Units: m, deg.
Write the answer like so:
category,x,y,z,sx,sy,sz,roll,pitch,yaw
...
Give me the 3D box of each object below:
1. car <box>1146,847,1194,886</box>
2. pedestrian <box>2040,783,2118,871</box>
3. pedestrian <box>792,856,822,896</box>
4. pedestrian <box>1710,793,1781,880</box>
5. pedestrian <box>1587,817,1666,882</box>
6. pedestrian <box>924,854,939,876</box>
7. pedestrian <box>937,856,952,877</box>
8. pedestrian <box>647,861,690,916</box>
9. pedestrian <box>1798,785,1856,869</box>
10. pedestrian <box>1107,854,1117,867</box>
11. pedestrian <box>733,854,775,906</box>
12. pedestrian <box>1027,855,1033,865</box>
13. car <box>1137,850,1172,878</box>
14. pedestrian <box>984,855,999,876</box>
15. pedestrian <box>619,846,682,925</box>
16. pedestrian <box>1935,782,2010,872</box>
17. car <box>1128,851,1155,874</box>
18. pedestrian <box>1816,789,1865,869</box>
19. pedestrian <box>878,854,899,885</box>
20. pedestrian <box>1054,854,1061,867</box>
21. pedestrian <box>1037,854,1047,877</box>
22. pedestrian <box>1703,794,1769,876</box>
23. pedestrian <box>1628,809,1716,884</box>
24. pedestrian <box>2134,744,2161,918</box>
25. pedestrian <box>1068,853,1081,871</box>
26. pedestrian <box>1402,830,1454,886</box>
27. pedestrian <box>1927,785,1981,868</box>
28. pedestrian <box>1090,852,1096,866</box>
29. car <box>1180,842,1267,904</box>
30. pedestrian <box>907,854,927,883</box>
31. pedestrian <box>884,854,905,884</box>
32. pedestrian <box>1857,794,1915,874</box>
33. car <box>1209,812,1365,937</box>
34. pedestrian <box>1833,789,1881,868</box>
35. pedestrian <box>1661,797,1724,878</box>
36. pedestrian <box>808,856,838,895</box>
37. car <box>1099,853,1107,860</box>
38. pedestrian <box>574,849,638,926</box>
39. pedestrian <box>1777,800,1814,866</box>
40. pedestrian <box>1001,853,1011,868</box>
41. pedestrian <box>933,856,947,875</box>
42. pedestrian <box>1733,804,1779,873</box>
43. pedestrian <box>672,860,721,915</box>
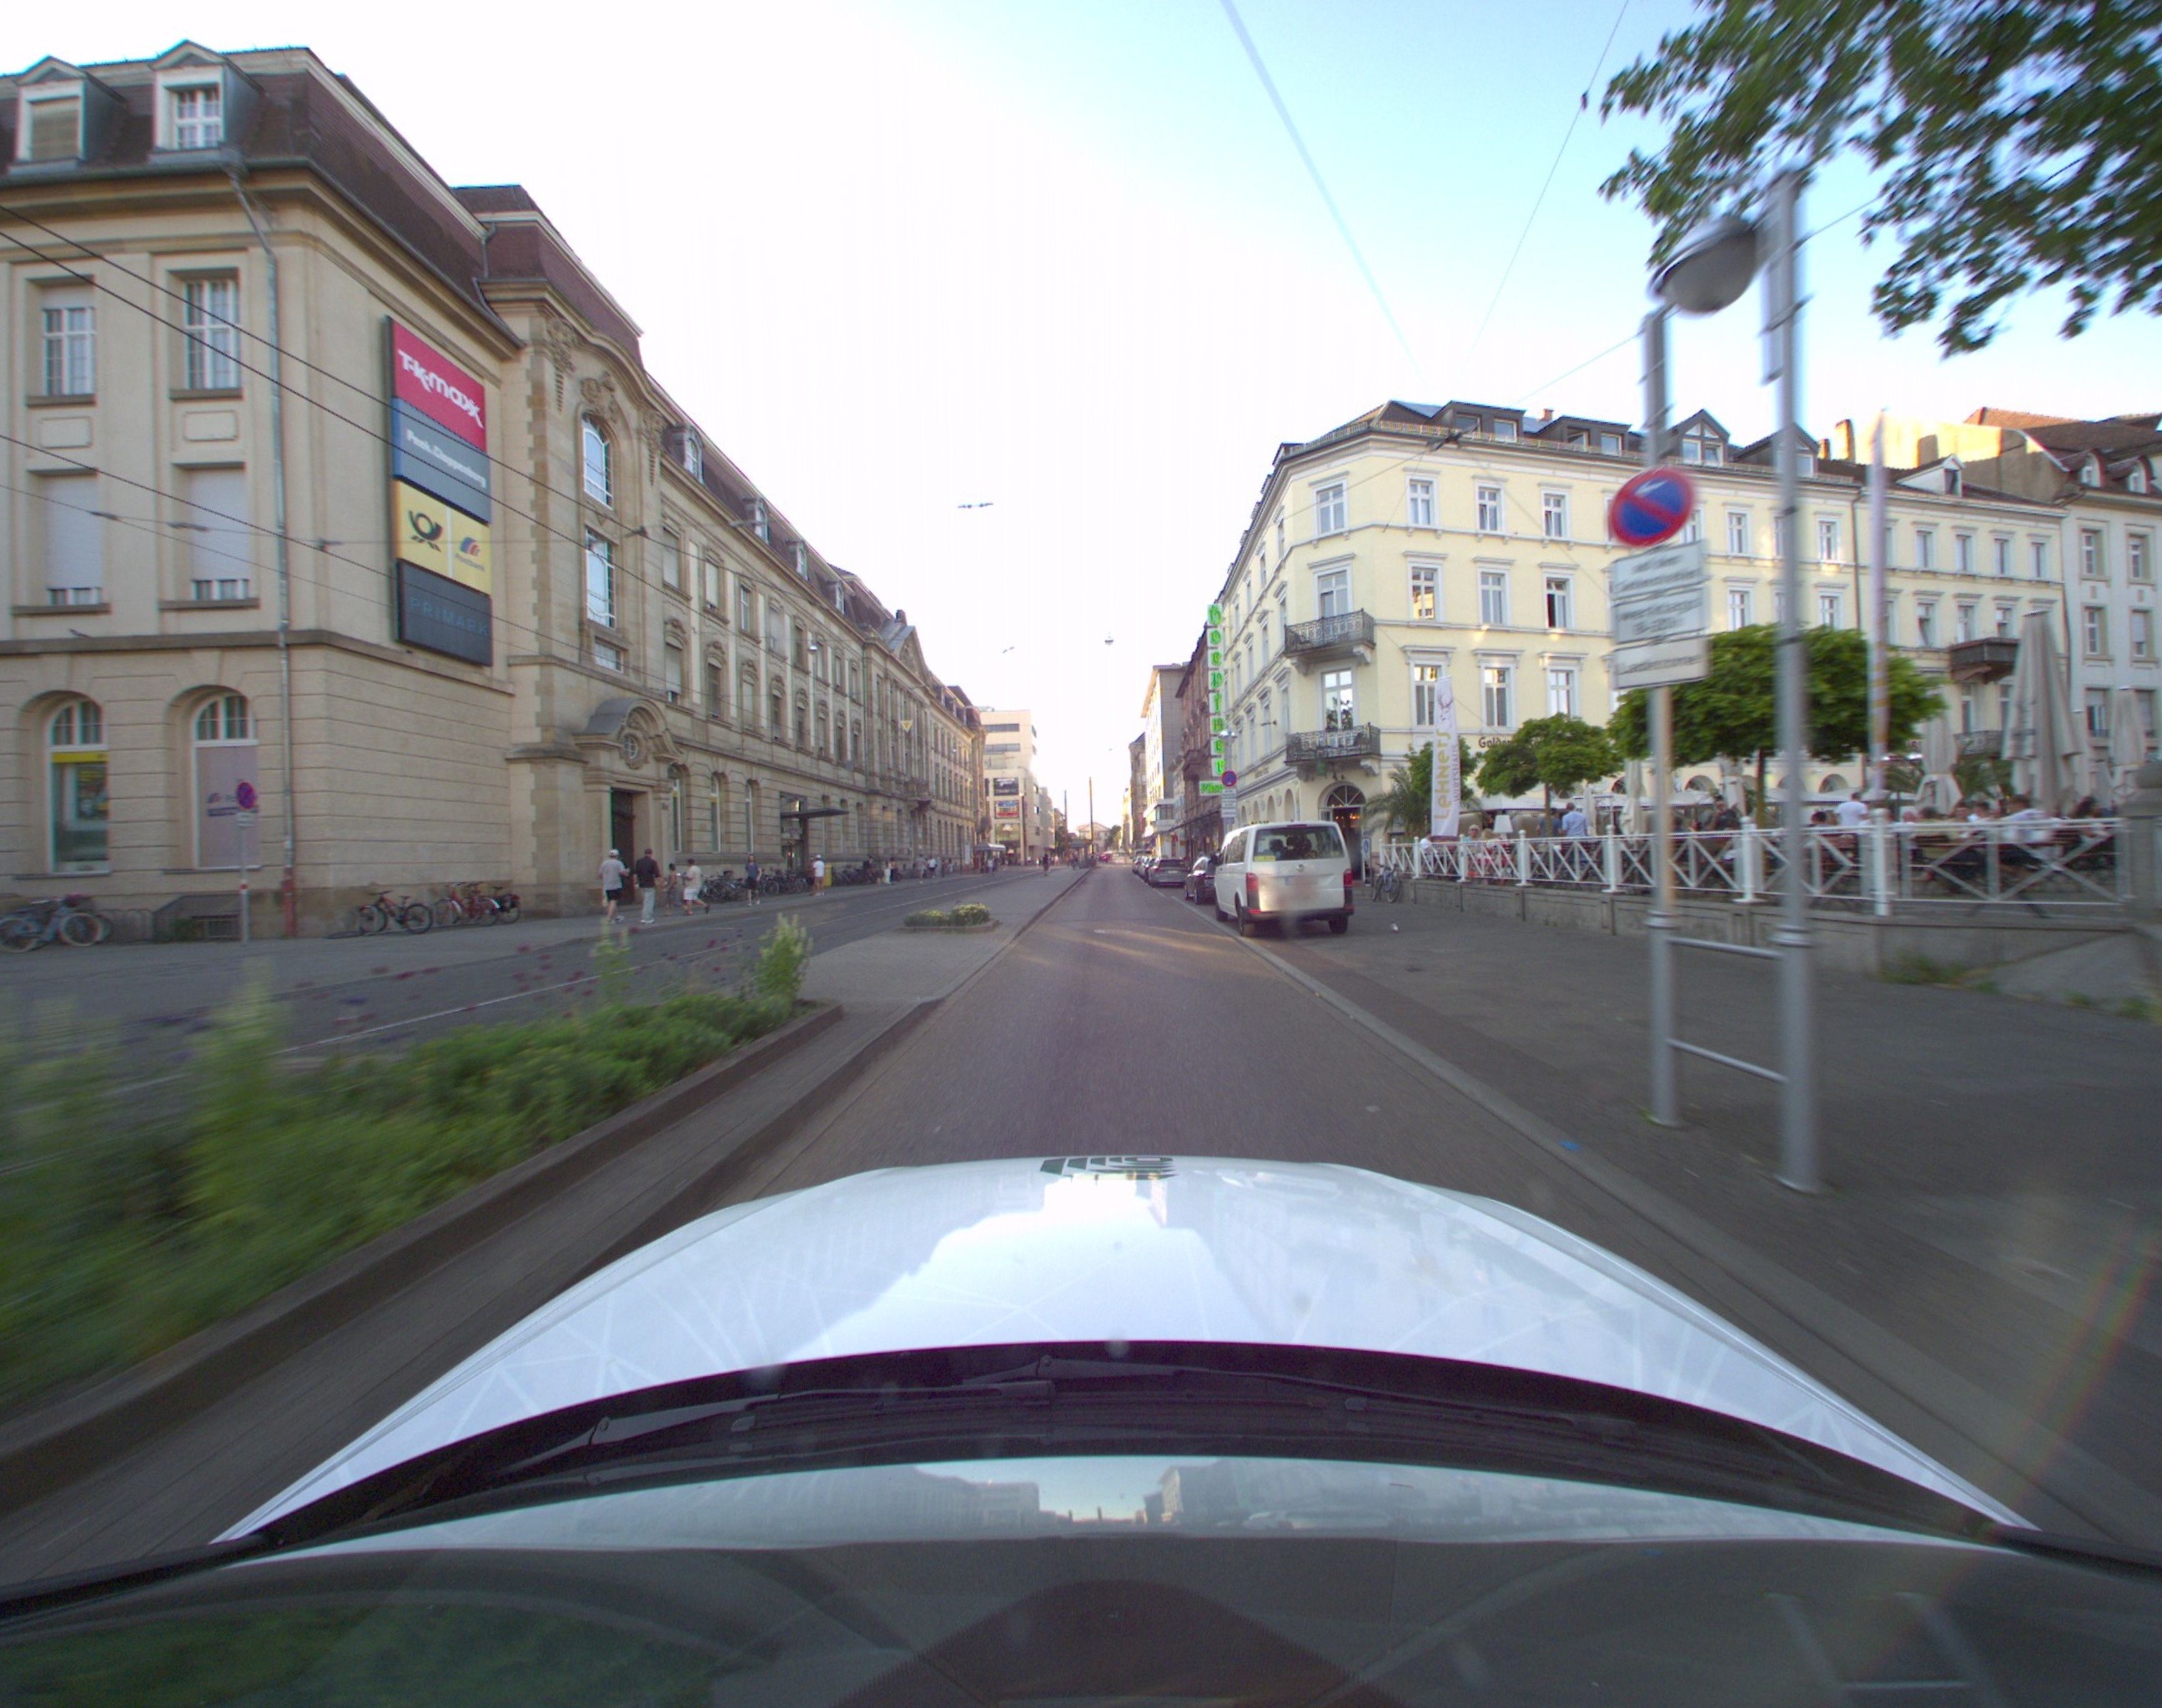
category,x,y,z,sx,sy,sz,roll,pitch,yaw
car,4.337,0.594,40.332,1.986,1.761,4.422,-2,-1,2
pedestrian,16.887,-0.443,13.791,0.508,1.439,0.578,-2,-2,1
pedestrian,-12.109,0.976,36.026,0.864,1.720,0.887,-3,-2,25
pedestrian,12.966,-0.324,15.917,0.754,1.643,0.659,-2,-2,2
pedestrian,11.220,-0.072,16.780,0.960,1.267,0.906,-2,-2,1
pedestrian,-11.952,0.864,64.916,1.051,1.686,0.903,-1,0,-17
pedestrian,-11.207,1.024,66.948,1.051,1.686,0.903,-2,0,-17
pedestrian,-11.781,0.978,23.263,0.750,1.514,0.868,-4,-3,45
pedestrian,14.343,-0.505,15.678,0.572,1.548,0.514,-3,-2,12
pedestrian,4.972,1.048,130.368,1.231,1.928,1.017,-2,0,-14
pedestrian,-11.131,0.872,27.749,0.869,1.710,1.132,-2,-2,3
pedestrian,-9.609,1.112,153.840,0.845,1.928,0.909,-2,0,2
car,4.727,0.681,53.167,1.986,1.667,4.422,-2,-2,2
pedestrian,-7.382,0.935,67.381,1.045,1.686,0.908,-1,0,1
pedestrian,-10.386,0.756,19.672,0.958,1.811,0.907,-2,-2,8
pedestrian,14.784,-0.438,13.517,0.573,1.439,0.513,-2,-2,8
car,4.890,0.720,66.323,1.986,1.667,4.422,-2,-2,2
pedestrian,15.221,-0.493,16.326,0.505,1.548,0.581,-3,-2,27
pedestrian,-10.988,0.891,46.486,1.048,1.686,0.905,-2,-2,-8
pedestrian,-3.512,0.974,121.906,0.907,1.928,0.847,-2,0,-15
pedestrian,-2.802,0.840,58.494,0.688,1.636,0.580,-2,0,-6
pedestrian,13.576,-0.371,16.894,0.754,1.643,0.660,-2,-2,4
pedestrian,11.229,-0.127,15.501,0.960,1.336,0.906,-2,-2,1
pedestrian,10.076,-0.222,7.199,0.614,1.571,0.633,-3,-2,16
pedestrian,-0.638,0.768,79.170,1.041,1.686,0.911,-3,-2,13
pedestrian,8.351,0.105,19.631,0.820,1.306,0.870,-2,-2,1
pedestrian,15.723,-0.479,14.680,0.571,1.439,0.515,-4,-3,44
pedestrian,1.375,0.594,95.486,0.611,1.523,0.619,-2,-2,-7
car,4.269,0.555,25.059,1.986,1.667,4.422,-2,-1,2
pedestrian,-9.883,0.888,49.167,1.048,1.686,0.905,-2,-2,-8
pedestrian,-11.127,0.904,48.613,1.048,1.686,0.905,-2,-2,-8
pedestrian,14.764,-0.364,14.941,0.578,1.439,0.508,-1,-2,-22
car,3.713,0.349,15.530,1.908,1.981,4.423,-2,0,2
pedestrian,17.220,-0.557,18.067,0.513,1.712,0.572,-1,-2,-30
pedestrian,12.733,-0.329,16.976,0.754,1.643,0.660,-2,-2,4
pedestrian,-11.247,0.938,35.543,0.873,1.653,0.879,-3,-2,15
car,5.700,0.663,210.065,1.754,1.827,3.571,-2,-2,2
pedestrian,-11.520,0.809,19.774,0.958,1.786,0.907,-2,-2,8
pedestrian,17.283,-0.498,19.714,0.505,1.548,0.581,-3,-2,31
pedestrian,-9.623,0.800,104.763,0.896,1.928,0.856,-2,0,33
pedestrian,-12.625,1.008,73.027,1.043,1.686,0.793,-2,0,7
pedestrian,15.620,-0.349,18.844,0.508,1.548,0.578,-2,-2,4
pedestrian,-10.807,0.935,22.894,0.710,1.514,1.043,-4,-3,45
